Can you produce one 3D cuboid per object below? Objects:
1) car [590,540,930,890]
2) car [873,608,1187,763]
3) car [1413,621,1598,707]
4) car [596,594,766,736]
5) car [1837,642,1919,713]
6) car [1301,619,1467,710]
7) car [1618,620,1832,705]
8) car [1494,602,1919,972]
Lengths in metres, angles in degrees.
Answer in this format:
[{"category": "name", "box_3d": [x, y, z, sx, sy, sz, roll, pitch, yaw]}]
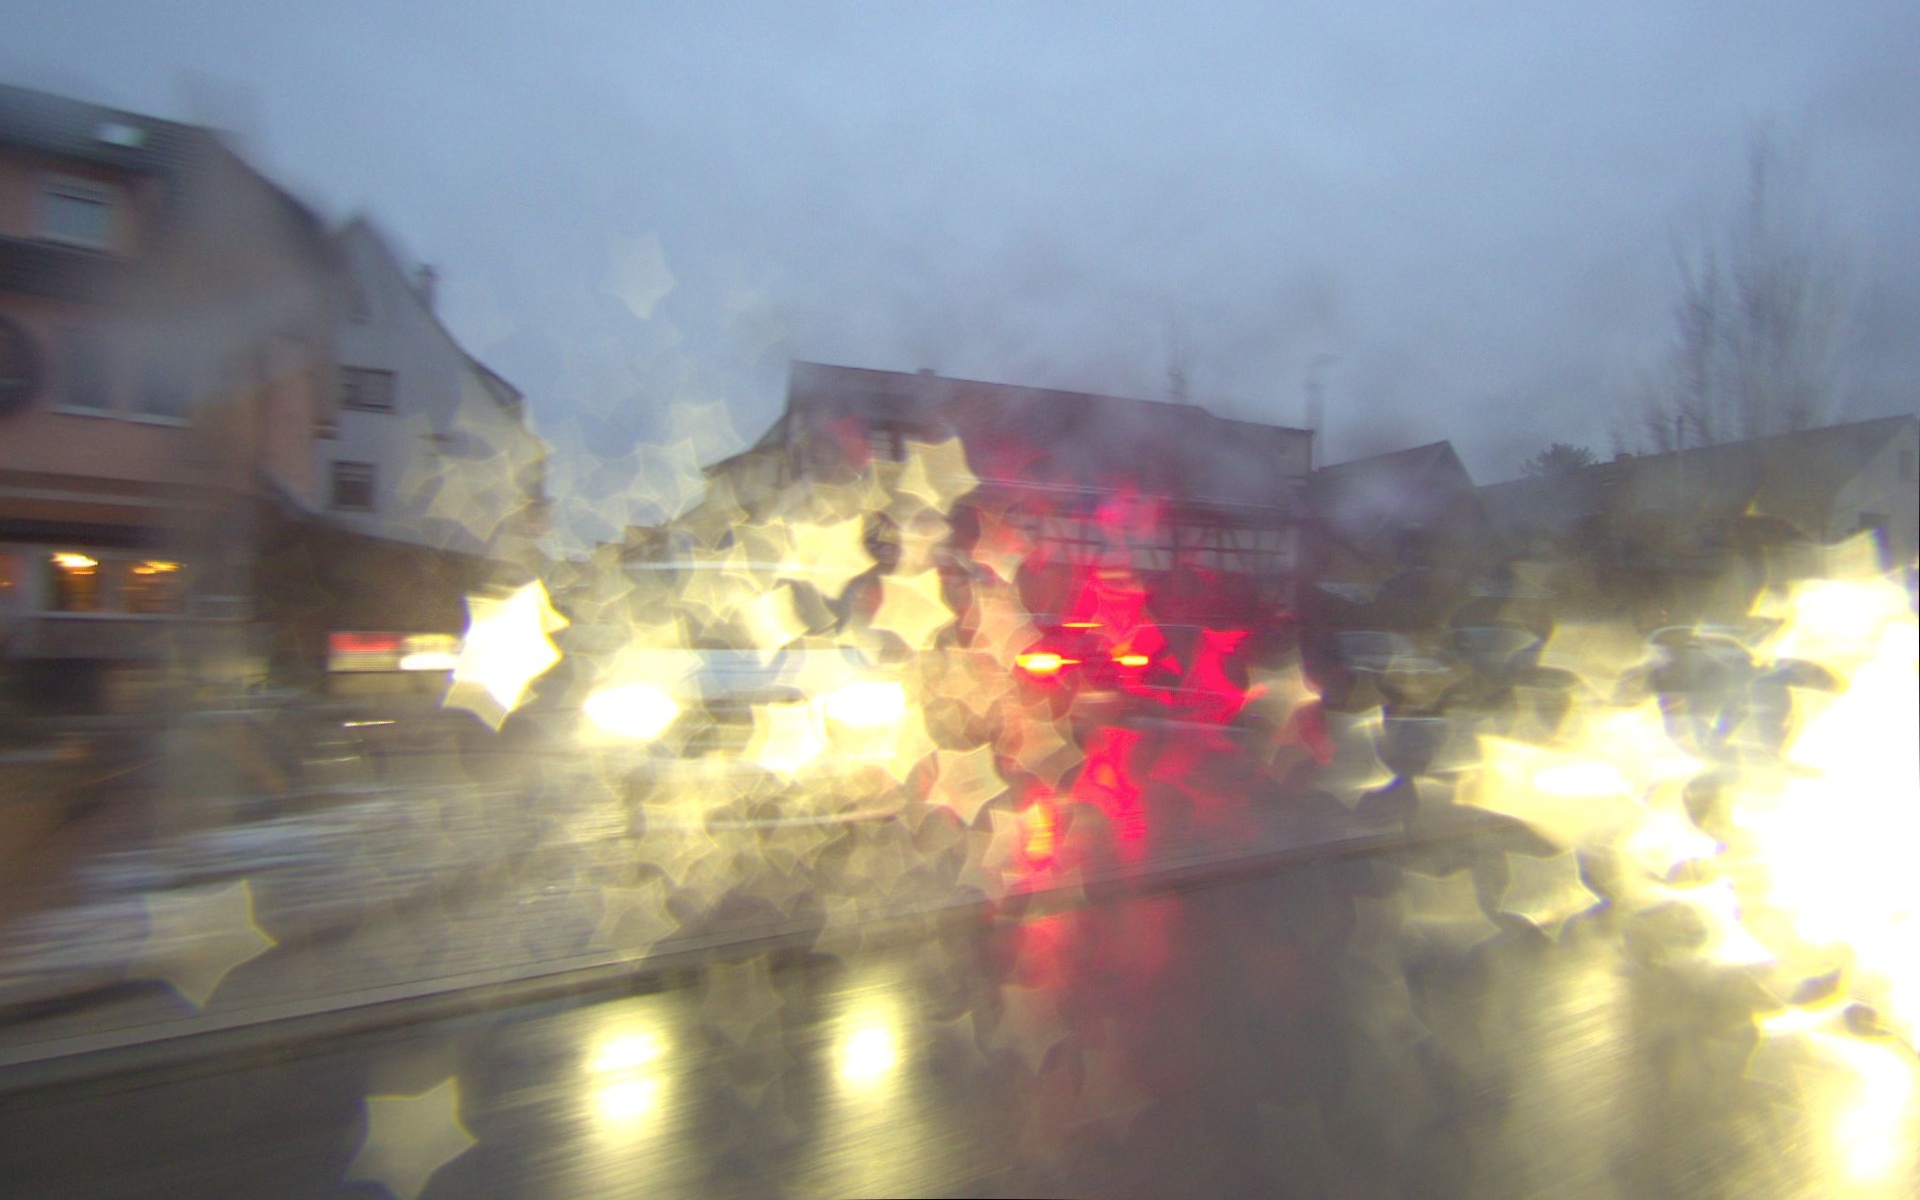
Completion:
[{"category": "car", "box_3d": [-1.865, 0.666, 8.713, 1.957, 1.972, 5.762, 1, 0, -15]}, {"category": "car", "box_3d": [0.705, 0.995, 13.253, 2.128, 1.653, 4.417, 2, -2, -28]}, {"category": "car", "box_3d": [10.558, 1.201, 19.785, 1.722, 1.478, 4.077, 1, -2, 5]}, {"category": "car", "box_3d": [-4.100, 0.885, 14.322, 1.969, 1.657, 4.751, 0, -3, -19]}, {"category": "car", "box_3d": [23.009, 1.825, 23.632, 1.960, 1.550, 4.002, 1, -1, 14]}, {"category": "car", "box_3d": [7.577, 1.134, 18.363, 1.727, 1.478, 3.937, 0, -2, 6]}, {"category": "car", "box_3d": [17.150, 1.371, 22.844, 1.947, 1.675, 4.660, 1, -2, 10]}, {"category": "car", "box_3d": [5.477, 0.856, 6.118, 4.494, 1.538, 1.818, 1, -2, -30]}]
